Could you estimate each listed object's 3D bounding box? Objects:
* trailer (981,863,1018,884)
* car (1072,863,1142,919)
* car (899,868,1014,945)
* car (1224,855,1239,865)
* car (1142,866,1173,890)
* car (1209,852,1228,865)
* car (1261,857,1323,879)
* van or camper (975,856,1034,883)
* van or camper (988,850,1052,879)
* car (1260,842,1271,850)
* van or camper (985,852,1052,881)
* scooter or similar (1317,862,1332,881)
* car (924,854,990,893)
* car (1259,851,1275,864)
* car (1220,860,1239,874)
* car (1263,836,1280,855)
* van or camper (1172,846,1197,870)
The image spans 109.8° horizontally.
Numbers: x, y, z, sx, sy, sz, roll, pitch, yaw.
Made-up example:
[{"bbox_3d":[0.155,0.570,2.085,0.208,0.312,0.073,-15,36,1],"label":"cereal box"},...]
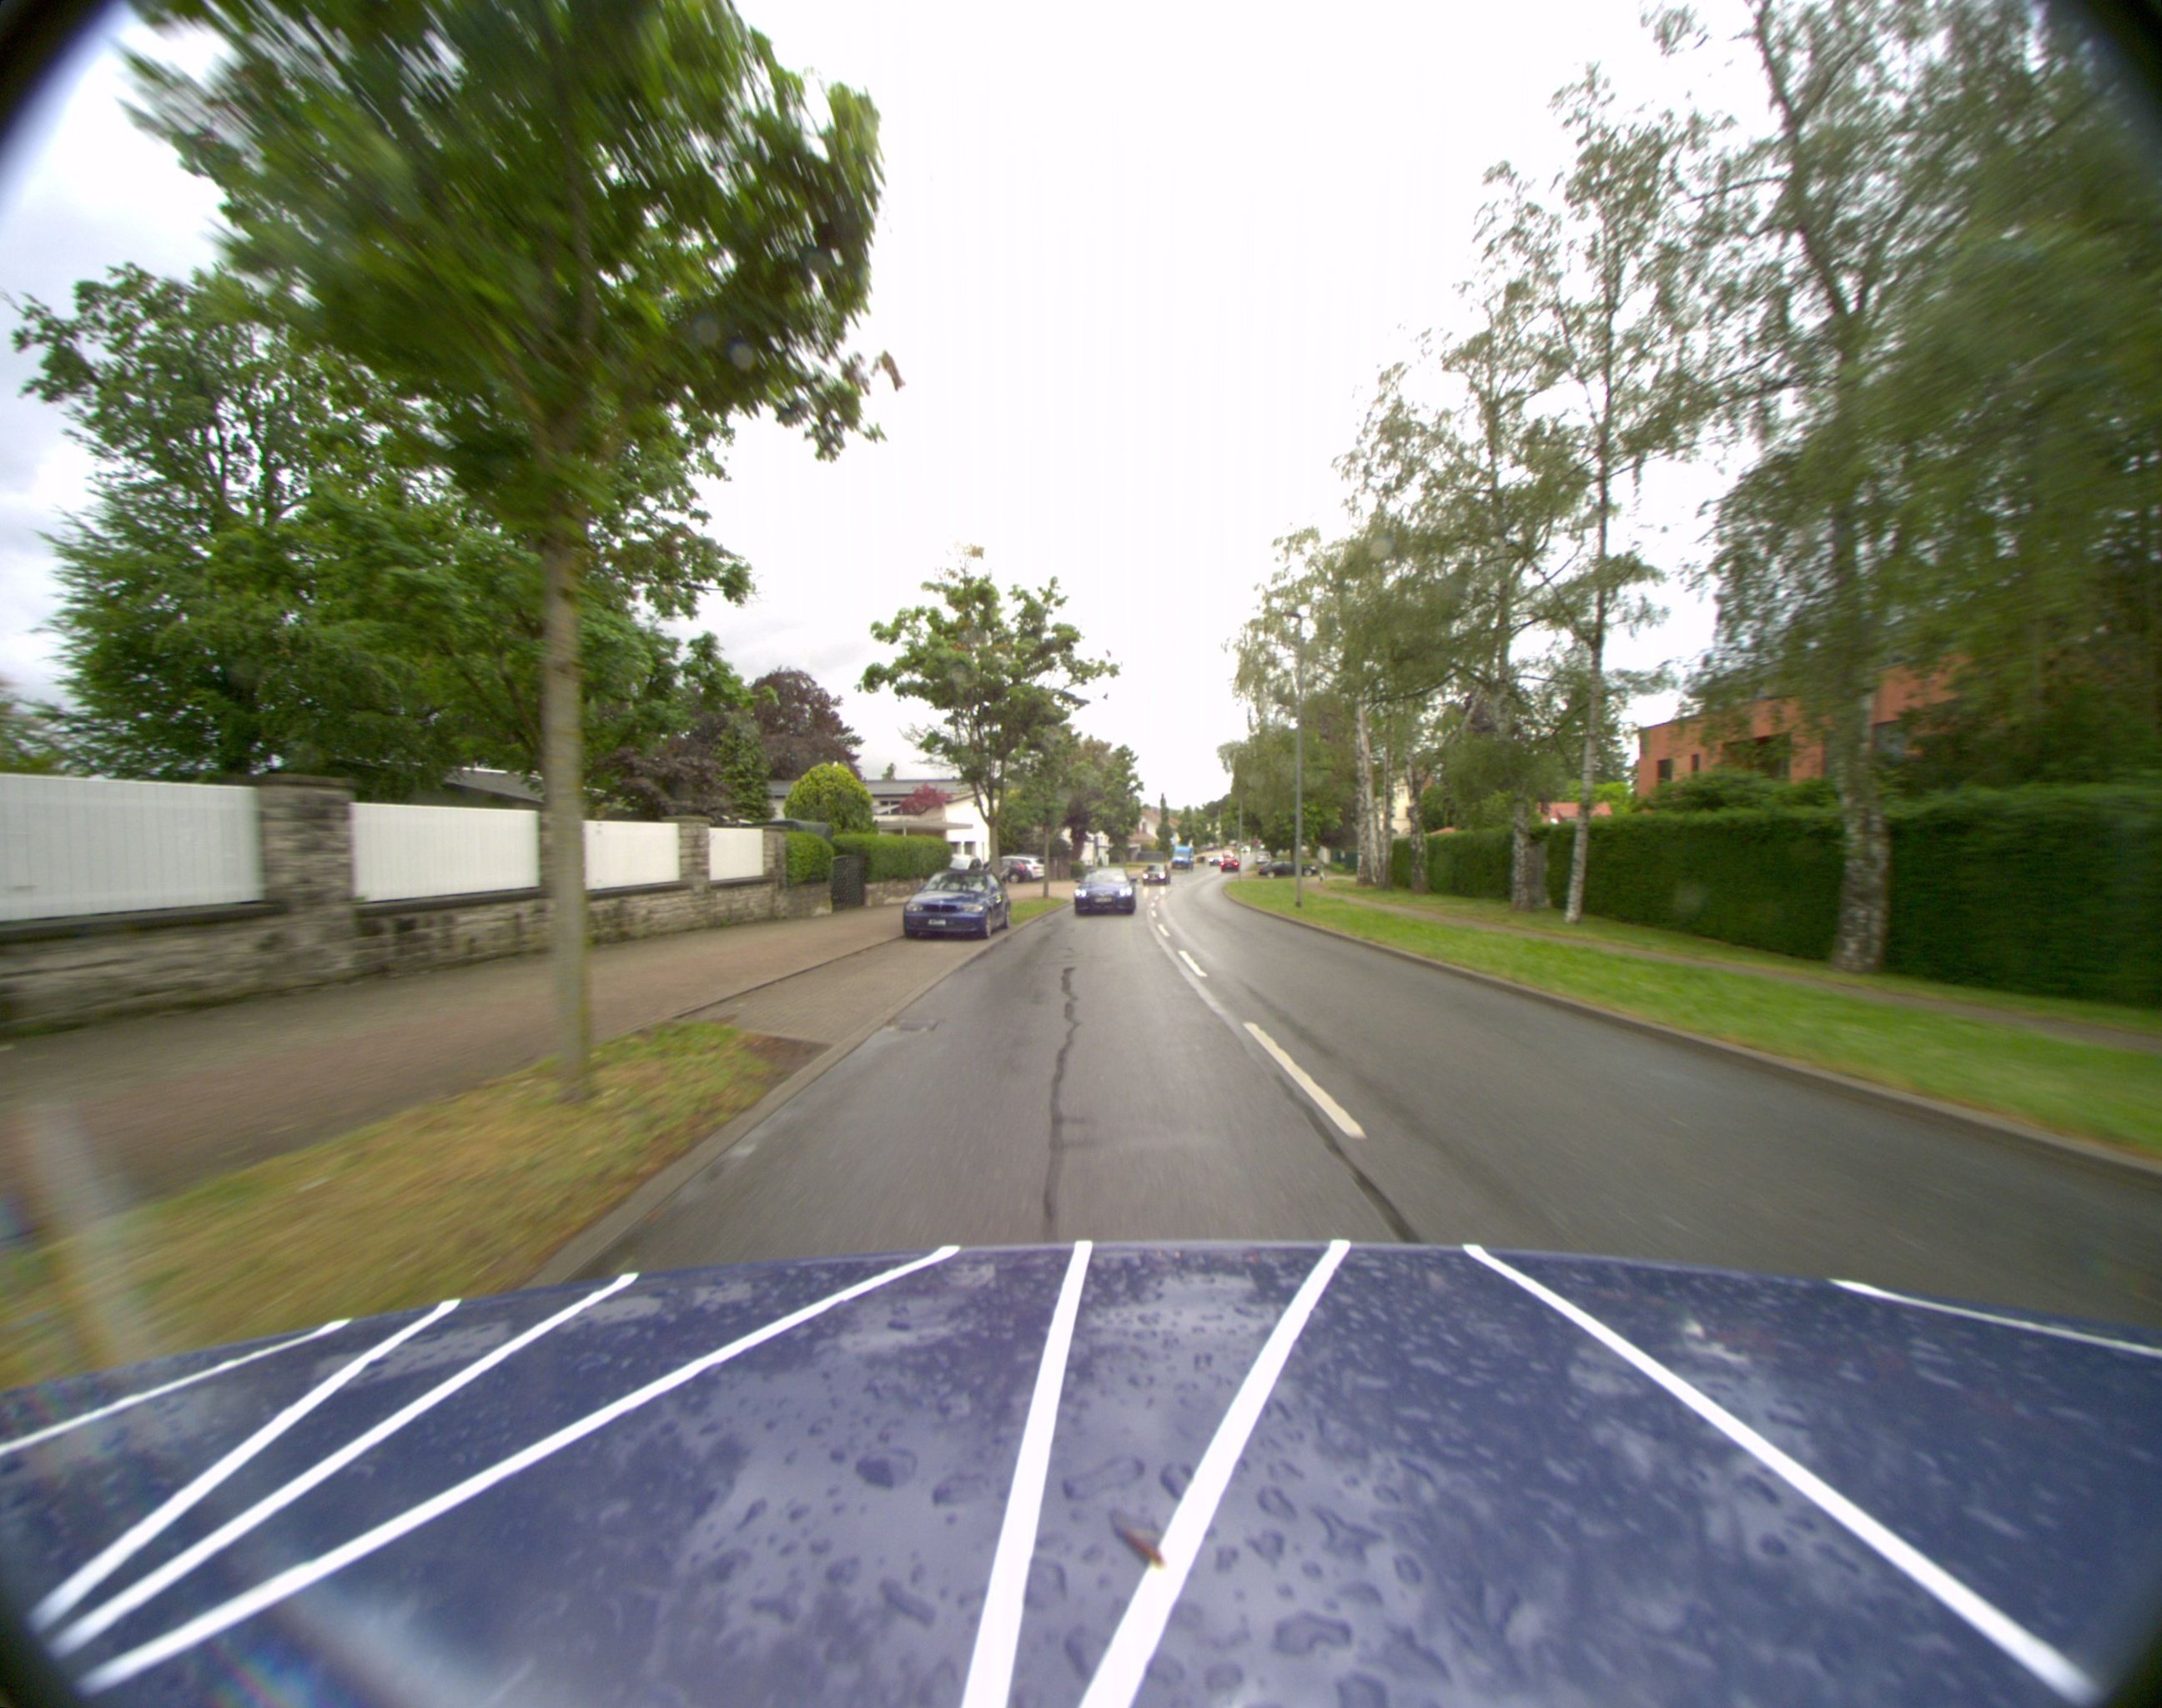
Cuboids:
[{"bbox_3d":[-4.851,1.129,45.363,1.422,0.916,3.276,7,2,6],"label":"trailer"},{"bbox_3d":[0.936,1.145,24.846,1.894,1.531,4.002,-2,0,7],"label":"car"},{"bbox_3d":[-2.576,1.054,16.584,1.645,1.369,3.830,1,0,3],"label":"car"},{"bbox_3d":[23.440,0.929,118.410,1.893,1.531,4.005,-2,0,17],"label":"car"},{"bbox_3d":[5.576,1.746,55.197,1.845,1.531,4.003,-2,0,10],"label":"car"},{"bbox_3d":[18.157,0.574,100.209,1.893,1.531,4.005,-2,0,17],"label":"car"},{"bbox_3d":[16.328,1.100,58.883,4.434,1.409,1.757,-4,0,15],"label":"car"},{"bbox_3d":[-4.850,0.938,48.411,3.408,1.547,1.770,2,1,6],"label":"van or camper"},{"bbox_3d":[-4.324,0.709,53.851,4.019,1.778,1.949,3,1,14],"label":"van or camper"},{"bbox_3d":[38.642,-1.761,159.151,1.893,1.531,4.005,-2,0,19],"label":"car"},{"bbox_3d":[-4.218,0.805,51.286,3.993,1.668,2.125,3,1,11],"label":"van or camper"},{"bbox_3d":[15.372,1.088,47.996,0.424,1.151,1.493,-2,0,35],"label":"scooter or similar"},{"bbox_3d":[-5.921,0.895,36.954,1.798,1.747,4.946,0,0,7],"label":"car"},{"bbox_3d":[24.350,0.401,99.507,1.773,1.597,4.004,0,1,18],"label":"car"},{"bbox_3d":[16.053,1.396,82.121,1.758,1.432,4.160,-2,-1,9],"label":"car"},{"bbox_3d":[30.632,-1.386,122.142,2.245,2.822,5.049,-2,2,18],"label":"car"},{"bbox_3d":[12.238,0.380,89.609,2.146,2.594,5.787,1,2,16],"label":"van or camper"}]
